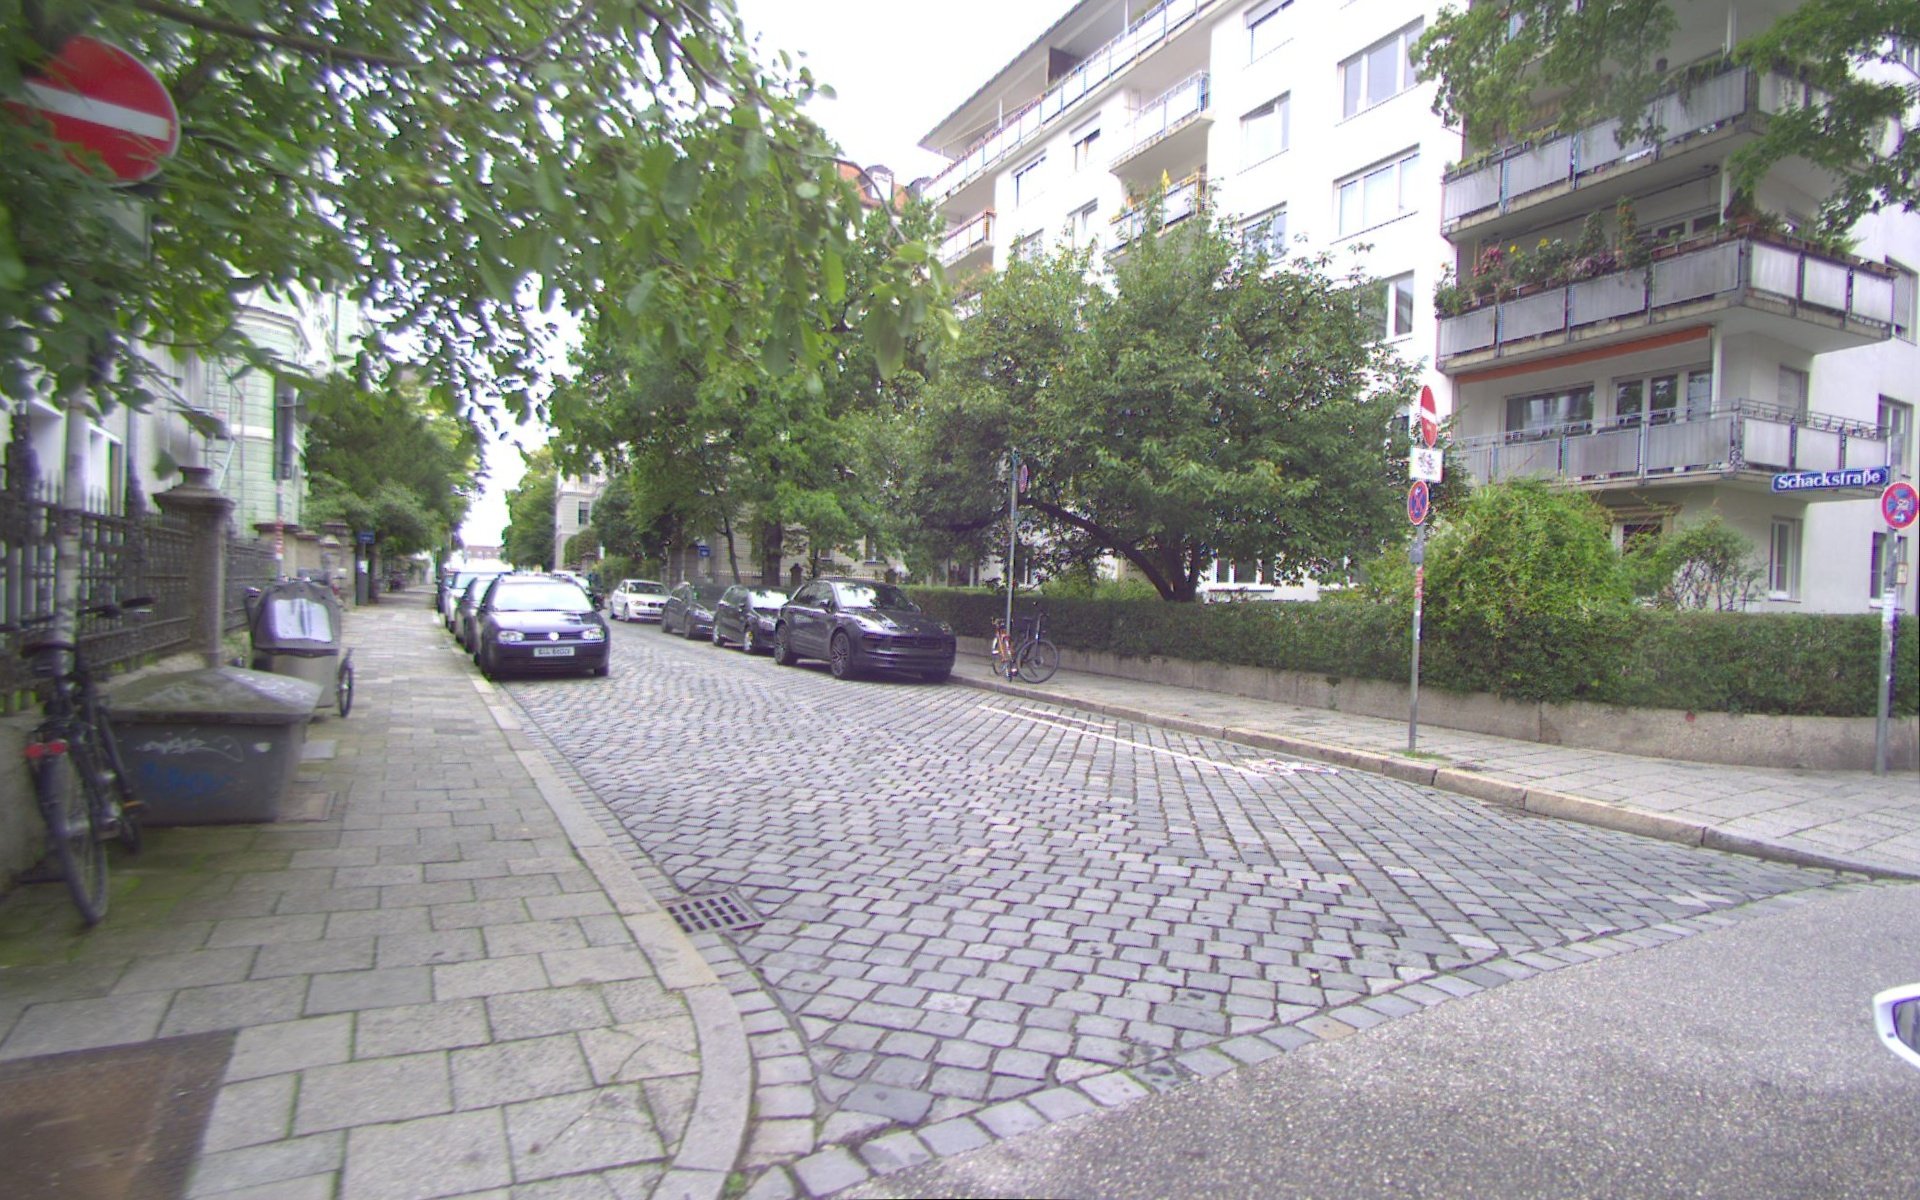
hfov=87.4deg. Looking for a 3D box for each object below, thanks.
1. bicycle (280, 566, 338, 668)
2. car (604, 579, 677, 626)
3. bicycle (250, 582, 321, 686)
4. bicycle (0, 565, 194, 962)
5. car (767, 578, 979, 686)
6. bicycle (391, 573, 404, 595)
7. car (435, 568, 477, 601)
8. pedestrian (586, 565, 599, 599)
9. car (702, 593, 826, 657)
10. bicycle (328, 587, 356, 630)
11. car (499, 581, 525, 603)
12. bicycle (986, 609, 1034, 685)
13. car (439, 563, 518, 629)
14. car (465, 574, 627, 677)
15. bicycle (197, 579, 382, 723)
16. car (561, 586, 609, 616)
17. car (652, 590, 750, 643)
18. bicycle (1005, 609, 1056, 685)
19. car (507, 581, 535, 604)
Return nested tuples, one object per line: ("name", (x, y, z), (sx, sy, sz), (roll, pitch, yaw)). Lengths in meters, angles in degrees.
("bicycle", (-8.777, 0.210, 13.576), (0.406, 1.290, 1.842), (2, 0, -26))
("car", (-10.706, 0.052, 33.561), (1.467, 1.394, 3.460), (3, 0, -32))
("bicycle", (-7.794, 0.364, 11.658), (0.406, 1.119, 1.842), (2, 0, -26))
("bicycle", (-3.492, 0.510, 4.025), (0.427, 1.278, 1.797), (2, 0, -30))
("car", (-1.632, 0.484, 17.250), (1.994, 1.542, 4.257), (4, 0, -29))
("bicycle", (-31.879, -0.944, 56.947), (0.571, 1.198, 2.503), (2, 1, -28))
("car", (-23.965, -0.732, 47.754), (1.504, 1.447, 3.371), (2, 1, -31))
("pedestrian", (-21.397, -1.061, 58.415), (0.531, 1.975, 0.481), (2, 1, -36))
("car", (-4.324, 0.507, 21.817), (1.467, 1.181, 3.460), (3, 0, -32))
("bicycle", (-13.852, 0.182, 22.505), (0.402, 0.885, 1.706), (2, 1, -36))
("car", (-35.485, -0.640, 79.553), (1.491, 1.600, 3.102), (2, 1, -31))
("bicycle", (0.785, 0.720, 16.087), (0.341, 1.086, 1.776), (2, 1, -10))
("car", (-12.437, -0.141, 25.852), (1.569, 1.542, 3.630), (2, 1, -29))
("car", (-6.532, 0.319, 15.603), (1.823, 1.344, 4.080), (2, 1, -29))
("bicycle", (-6.337, 0.413, 9.424), (0.986, 1.171, 2.454), (2, 0, -45))
("car", (-17.668, 0.050, 47.292), (1.504, 1.264, 3.371), (2, 1, -31))
("car", (-6.818, 0.410, 26.253), (1.467, 1.181, 3.460), (3, 0, -32))
("bicycle", (1.116, 0.724, 16.208), (0.341, 1.086, 1.776), (3, 1, -10))
("car", (-32.691, -0.561, 74.762), (1.491, 1.600, 3.102), (2, 1, -31))
